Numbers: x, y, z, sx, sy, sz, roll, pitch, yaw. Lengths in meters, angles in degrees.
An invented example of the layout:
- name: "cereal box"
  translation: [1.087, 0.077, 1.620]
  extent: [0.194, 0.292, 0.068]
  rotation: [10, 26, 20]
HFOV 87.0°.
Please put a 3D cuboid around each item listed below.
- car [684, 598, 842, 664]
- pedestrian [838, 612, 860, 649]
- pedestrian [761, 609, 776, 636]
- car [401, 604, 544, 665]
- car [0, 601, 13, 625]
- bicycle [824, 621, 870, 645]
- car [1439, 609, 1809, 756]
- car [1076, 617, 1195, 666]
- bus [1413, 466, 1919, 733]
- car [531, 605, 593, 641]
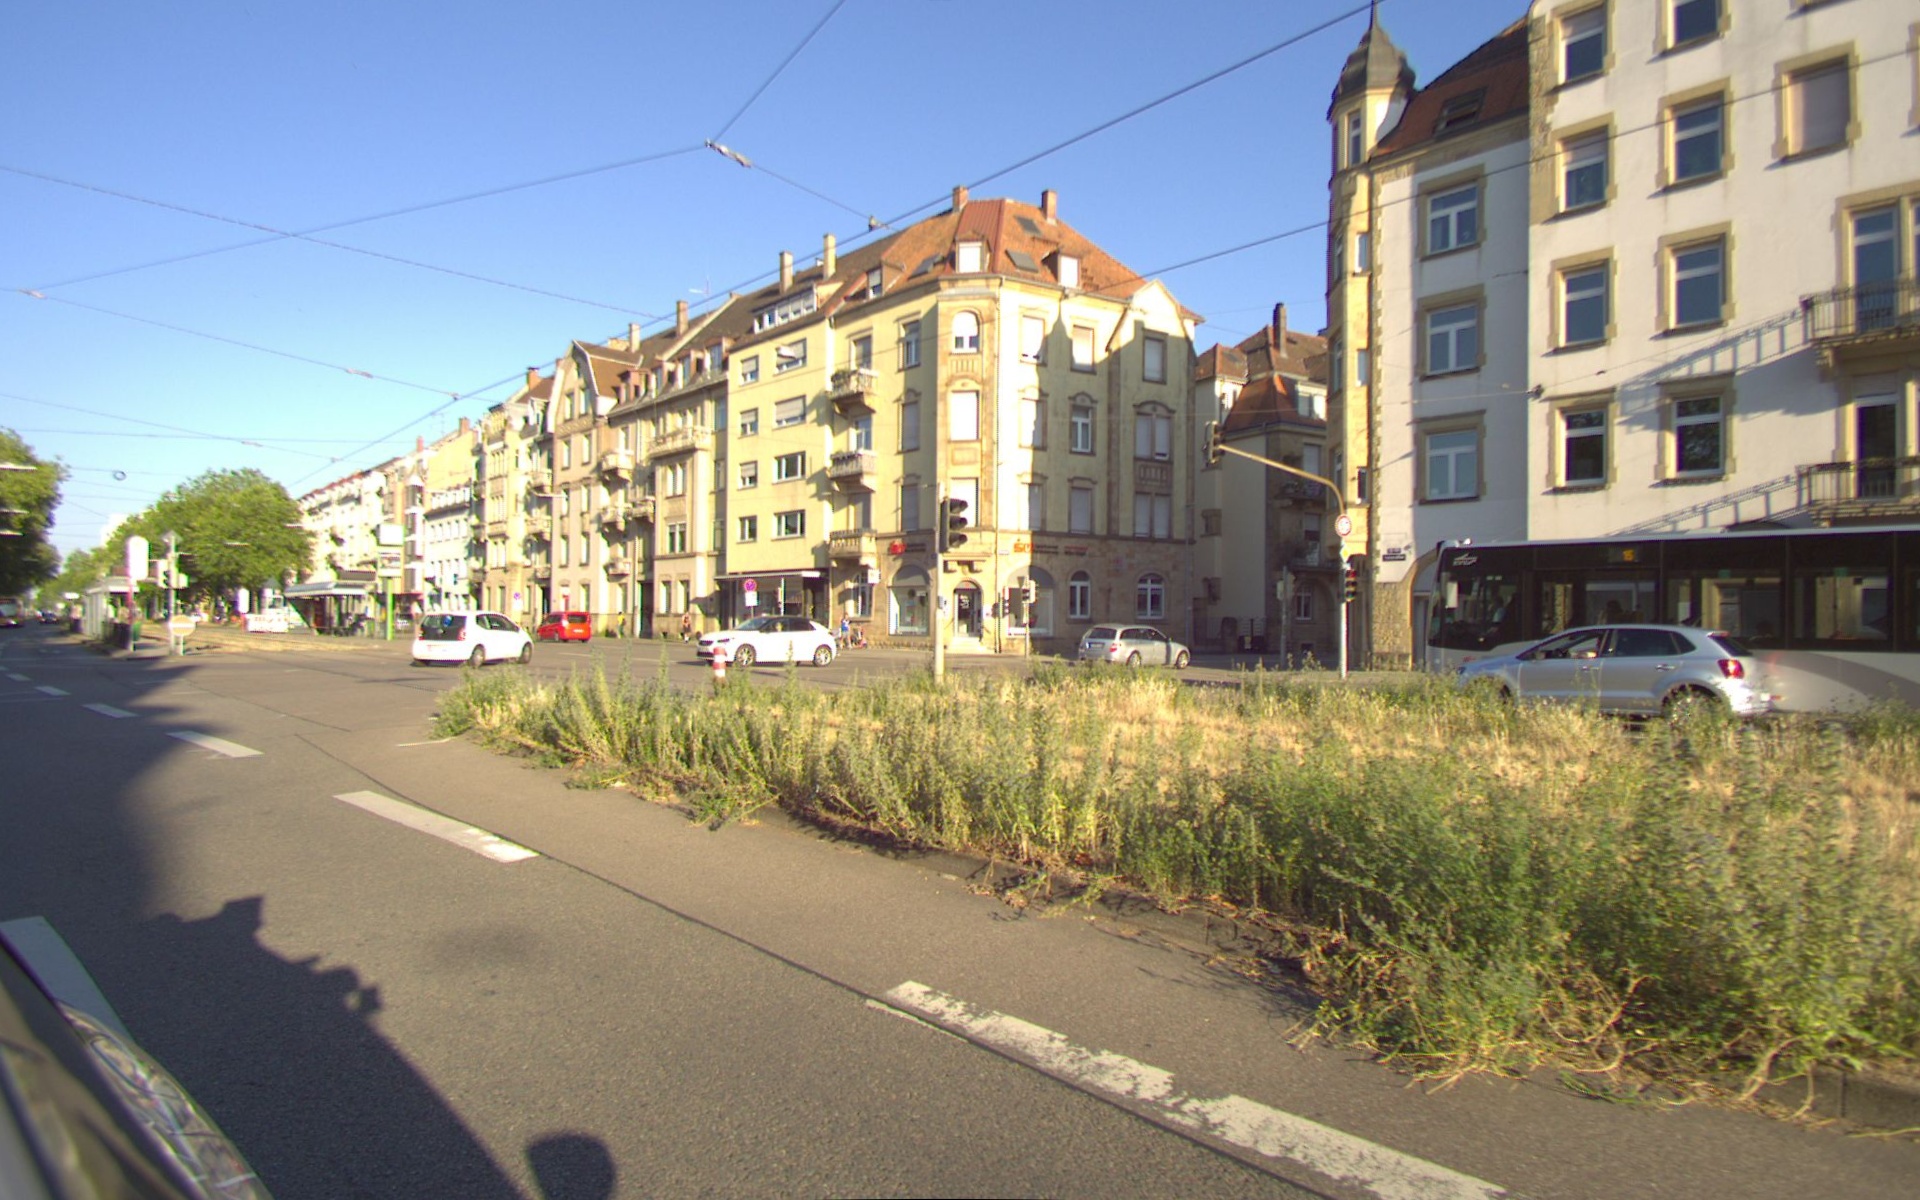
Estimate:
- name: "car"
  translation: [-5.446, 0.832, 28.222]
  extent: [3.938, 1.719, 1.839]
  rotation: [1, 0, -41]
- name: "pedestrian"
  translation: [-5.010, 1.358, 45.754]
  extent: [0.770, 1.653, 0.621]
  rotation: [-1, -1, 45]
- name: "pedestrian"
  translation: [-9.635, 1.123, 50.957]
  extent: [0.546, 1.373, 0.556]
  rotation: [1, -1, -44]
- name: "car"
  translation: [-12.785, 0.884, 26.818]
  extent: [1.715, 1.491, 3.809]
  rotation: [1, -1, 4]
- name: "car"
  translation: [-93.832, 1.243, 98.885]
  extent: [1.851, 2.310, 4.004]
  rotation: [1, -1, -43]
- name: "bicycle"
  translation: [-5.238, 1.512, 46.905]
  extent: [2.503, 1.064, 0.658]
  rotation: [-1, -1, 44]
- name: "car"
  translation: [9.220, 1.018, 14.299]
  extent: [1.906, 1.696, 4.006]
  rotation: [1, 0, -41]
- name: "car"
  translation: [5.837, 1.364, 33.377]
  extent: [4.109, 1.488, 1.739]
  rotation: [3, -2, -43]
- name: "bus"
  translation: [12.414, 0.004, 15.006]
  extent: [3.227, 3.399, 9.908]
  rotation: [1, 0, -43]
- name: "car"
  translation: [-22.996, 1.292, 58.410]
  extent: [1.891, 1.914, 4.315]
  rotation: [1, 0, -42]
